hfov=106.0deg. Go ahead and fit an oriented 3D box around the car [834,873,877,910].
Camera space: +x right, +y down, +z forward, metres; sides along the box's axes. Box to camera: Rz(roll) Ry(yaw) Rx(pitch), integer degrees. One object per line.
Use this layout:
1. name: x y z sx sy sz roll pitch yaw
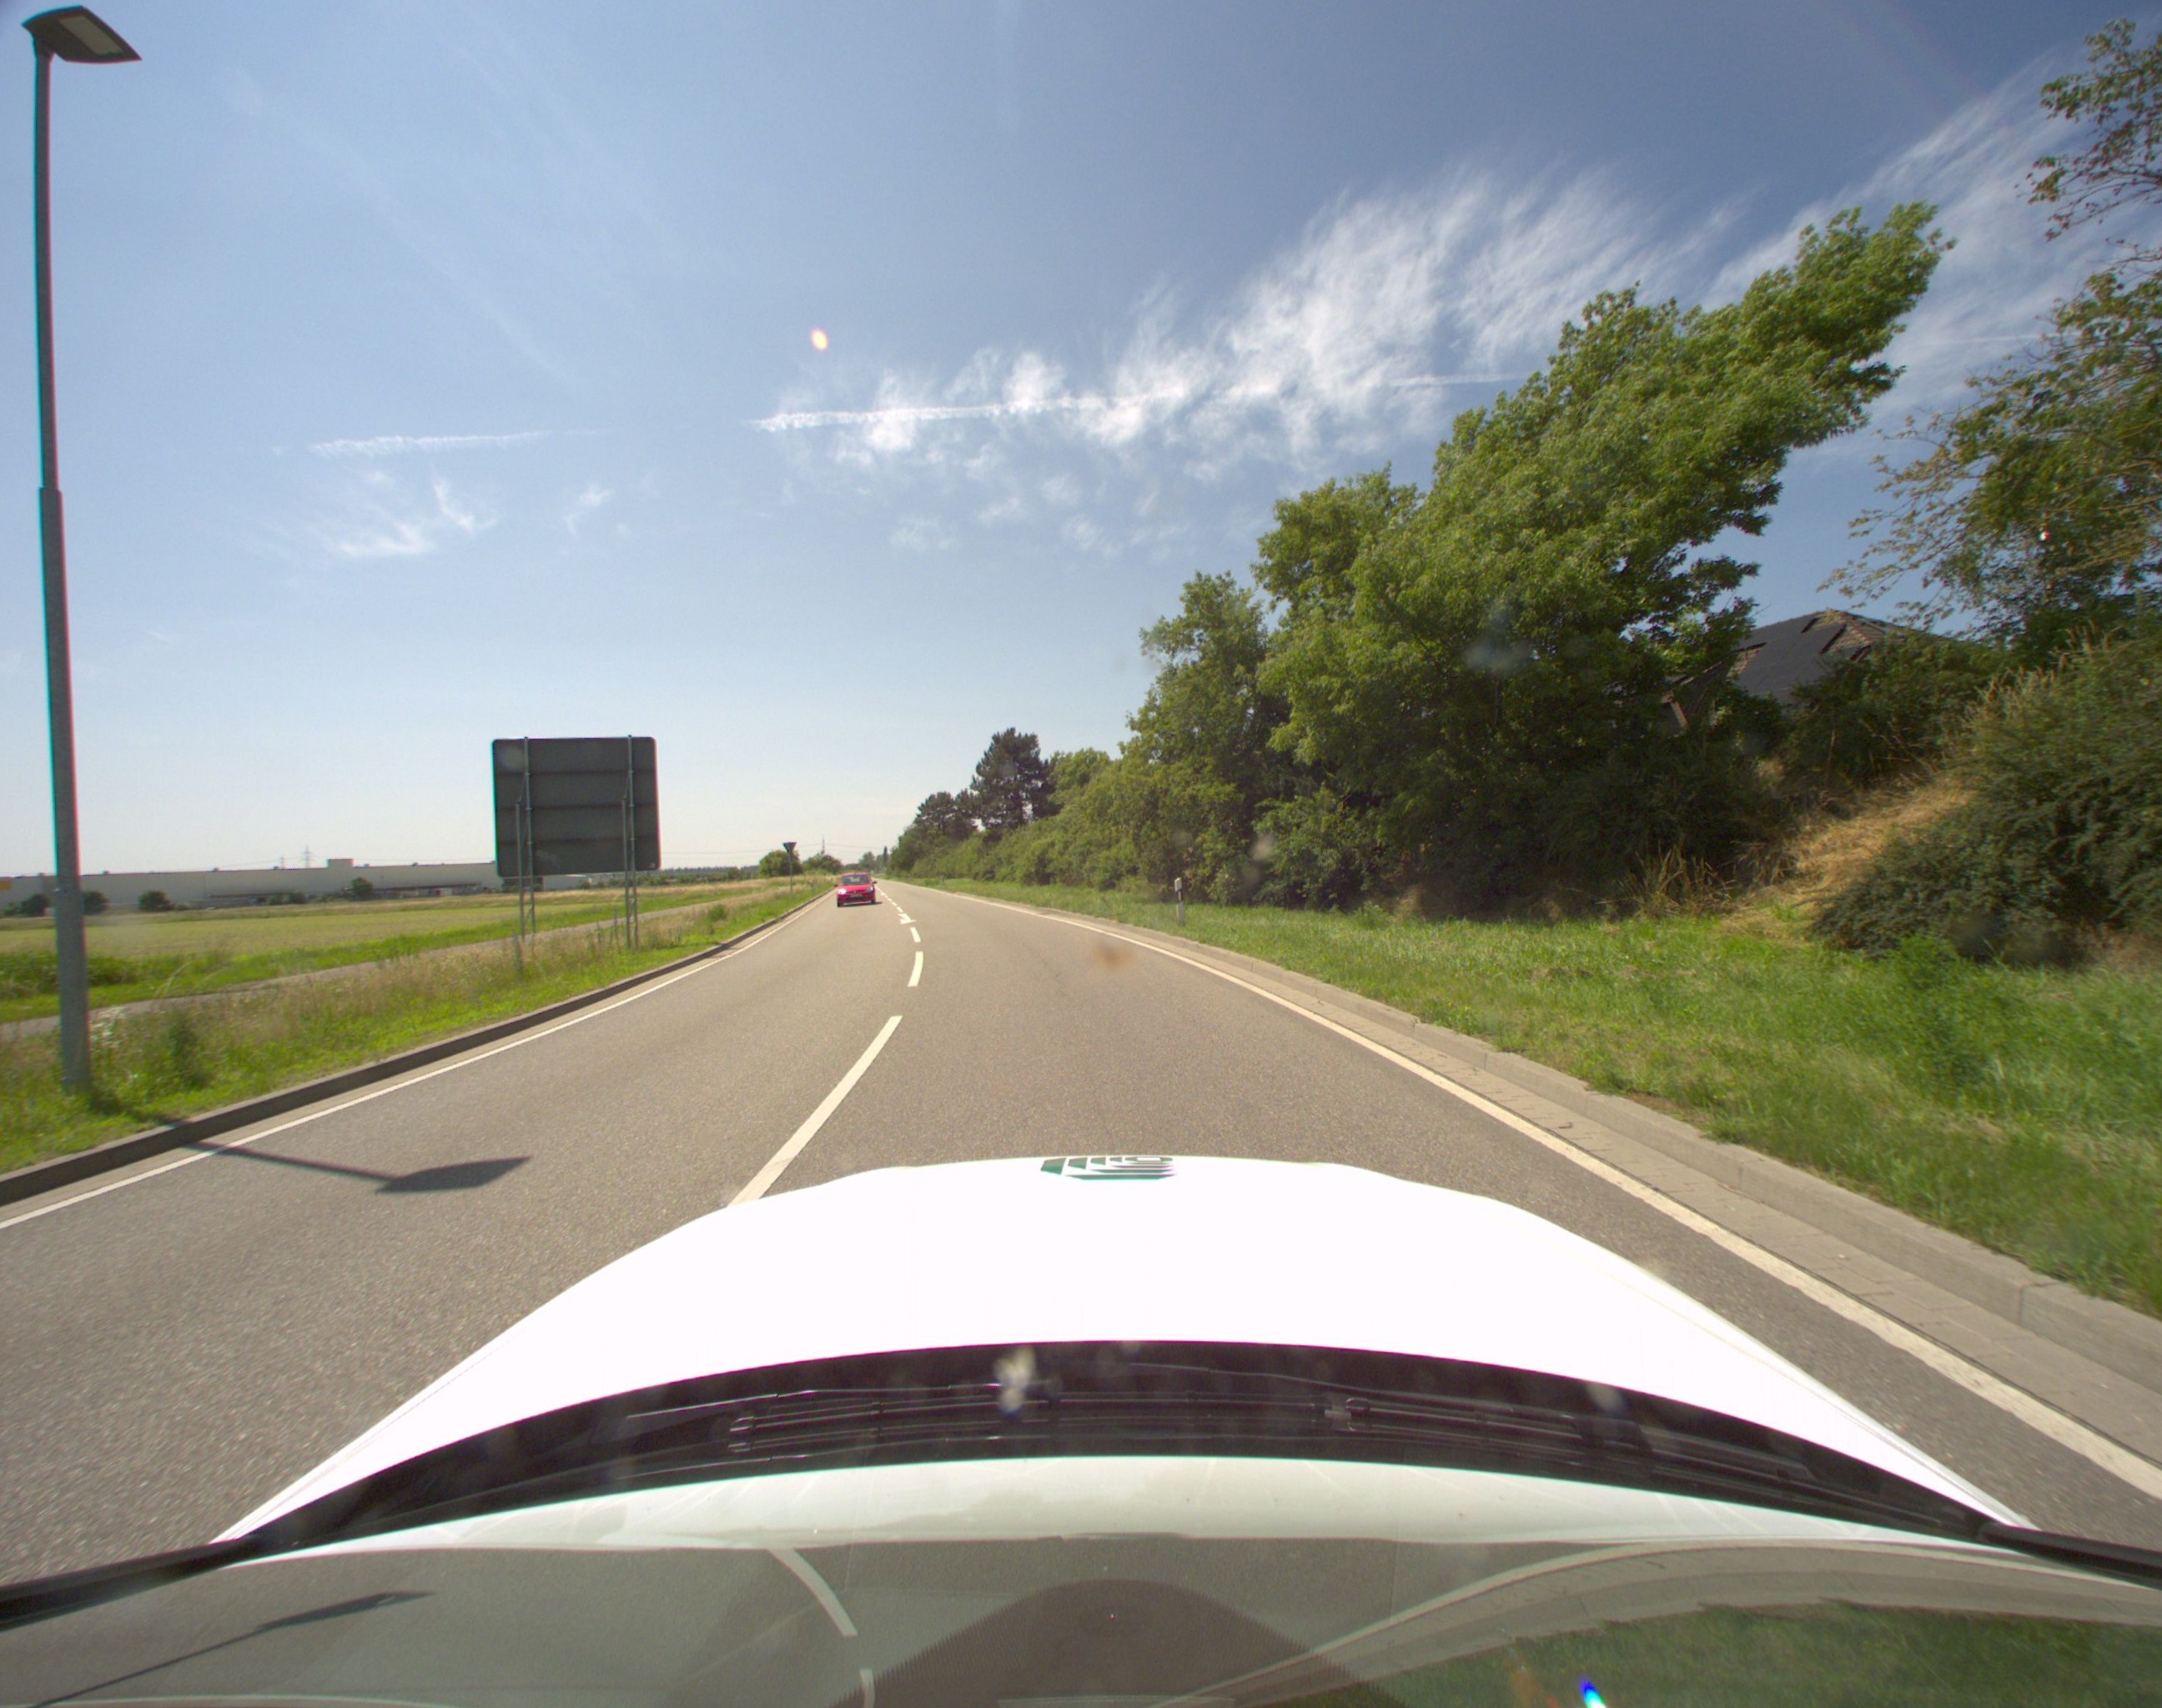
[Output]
1. car: -10.239 1.664 37.196 1.657 1.433 3.719 -4 0 -13
